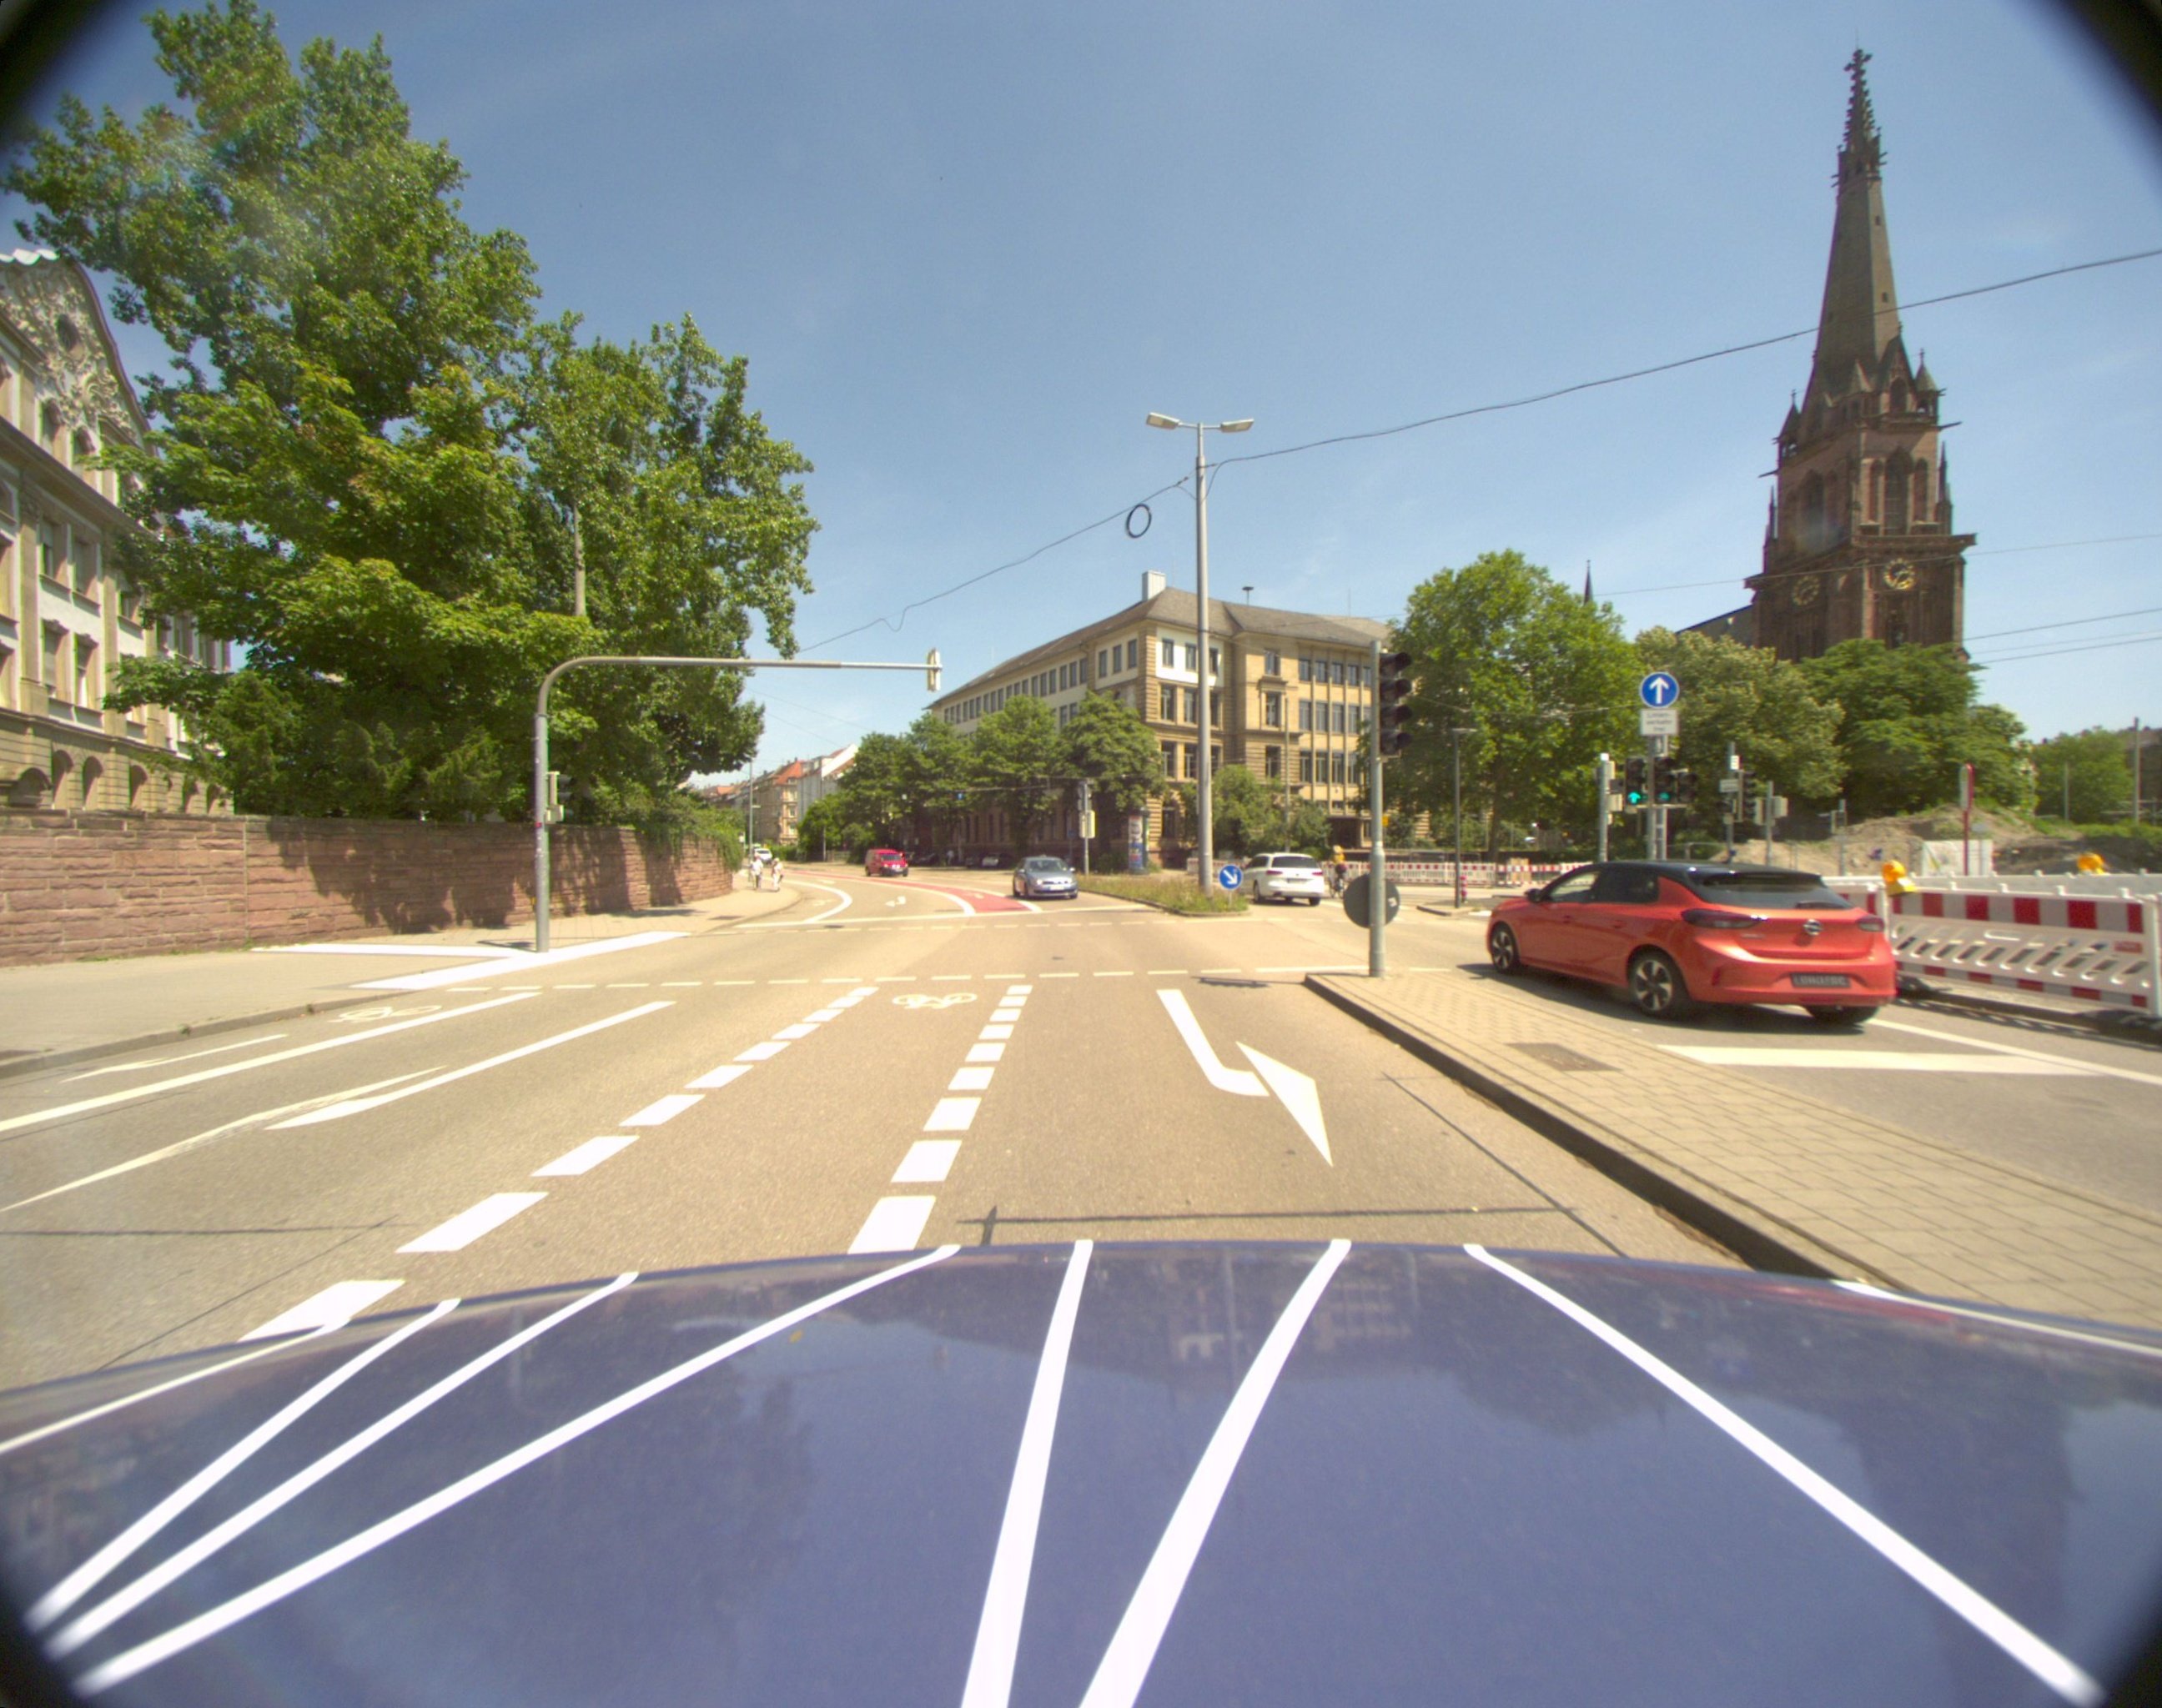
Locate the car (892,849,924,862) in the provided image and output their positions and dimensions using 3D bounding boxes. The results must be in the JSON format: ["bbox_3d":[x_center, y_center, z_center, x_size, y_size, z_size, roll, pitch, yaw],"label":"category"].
[{"bbox_3d":[-20.093,0.178,88.419,1.611,1.444,3.585,-2,1,28],"label":"car"}]

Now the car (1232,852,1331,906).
[{"bbox_3d":[5.815,0.669,22.577,1.820,1.420,4.427,1,0,1],"label":"car"}]

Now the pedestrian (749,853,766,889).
[{"bbox_3d":[-14.577,0.772,34.270,0.606,1.601,0.557,2,-1,-31],"label":"pedestrian"}]

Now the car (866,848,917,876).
[{"bbox_3d":[-12.691,0.530,50.711,1.837,1.756,4.268,-3,1,-34],"label":"car"}]

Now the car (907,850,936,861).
[{"bbox_3d":[-17.832,0.181,84.975,1.277,1.092,2.995,-2,1,38],"label":"car"}]

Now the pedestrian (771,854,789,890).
[{"bbox_3d":[-13.359,0.797,33.747,0.606,1.601,0.557,2,-1,-31],"label":"pedestrian"}]

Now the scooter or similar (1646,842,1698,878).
[{"bbox_3d":[18.023,0.161,23.192,0.339,1.054,1.447,-2,1,-4],"label":"scooter or similar"}]

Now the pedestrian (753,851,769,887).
[{"bbox_3d":[-15.435,0.740,36.646,0.606,1.702,0.557,2,-1,-32],"label":"pedestrian"}]

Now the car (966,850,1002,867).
[{"bbox_3d":[-9.094,0.381,71.525,1.567,1.454,3.156,-2,1,39],"label":"car"}]

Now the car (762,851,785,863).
[{"bbox_3d":[-35.793,0.341,88.401,1.837,1.384,4.268,0,0,-31],"label":"car"}]

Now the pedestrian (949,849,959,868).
[{"bbox_3d":[-11.400,0.411,68.378,0.725,1.661,0.642,-1,1,-29],"label":"pedestrian"}]

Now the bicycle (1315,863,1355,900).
[{"bbox_3d":[8.550,0.920,25.656,0.589,1.143,2.009,2,1,-2],"label":"bicycle"}]

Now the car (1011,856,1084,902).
[{"bbox_3d":[-1.272,0.814,26.867,1.834,1.406,3.989,-1,1,-13],"label":"car"}]

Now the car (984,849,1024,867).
[{"bbox_3d":[-7.013,0.364,69.462,1.567,1.412,3.559,-2,1,40],"label":"car"}]

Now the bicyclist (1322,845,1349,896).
[{"bbox_3d":[8.559,0.548,25.555,0.587,1.655,0.798,1,1,-2],"label":"bicyclist"}]

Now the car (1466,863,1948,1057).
[{"bbox_3d":[5.853,0.846,7.885,1.692,1.370,4.013,1,1,1],"label":"car"}]
